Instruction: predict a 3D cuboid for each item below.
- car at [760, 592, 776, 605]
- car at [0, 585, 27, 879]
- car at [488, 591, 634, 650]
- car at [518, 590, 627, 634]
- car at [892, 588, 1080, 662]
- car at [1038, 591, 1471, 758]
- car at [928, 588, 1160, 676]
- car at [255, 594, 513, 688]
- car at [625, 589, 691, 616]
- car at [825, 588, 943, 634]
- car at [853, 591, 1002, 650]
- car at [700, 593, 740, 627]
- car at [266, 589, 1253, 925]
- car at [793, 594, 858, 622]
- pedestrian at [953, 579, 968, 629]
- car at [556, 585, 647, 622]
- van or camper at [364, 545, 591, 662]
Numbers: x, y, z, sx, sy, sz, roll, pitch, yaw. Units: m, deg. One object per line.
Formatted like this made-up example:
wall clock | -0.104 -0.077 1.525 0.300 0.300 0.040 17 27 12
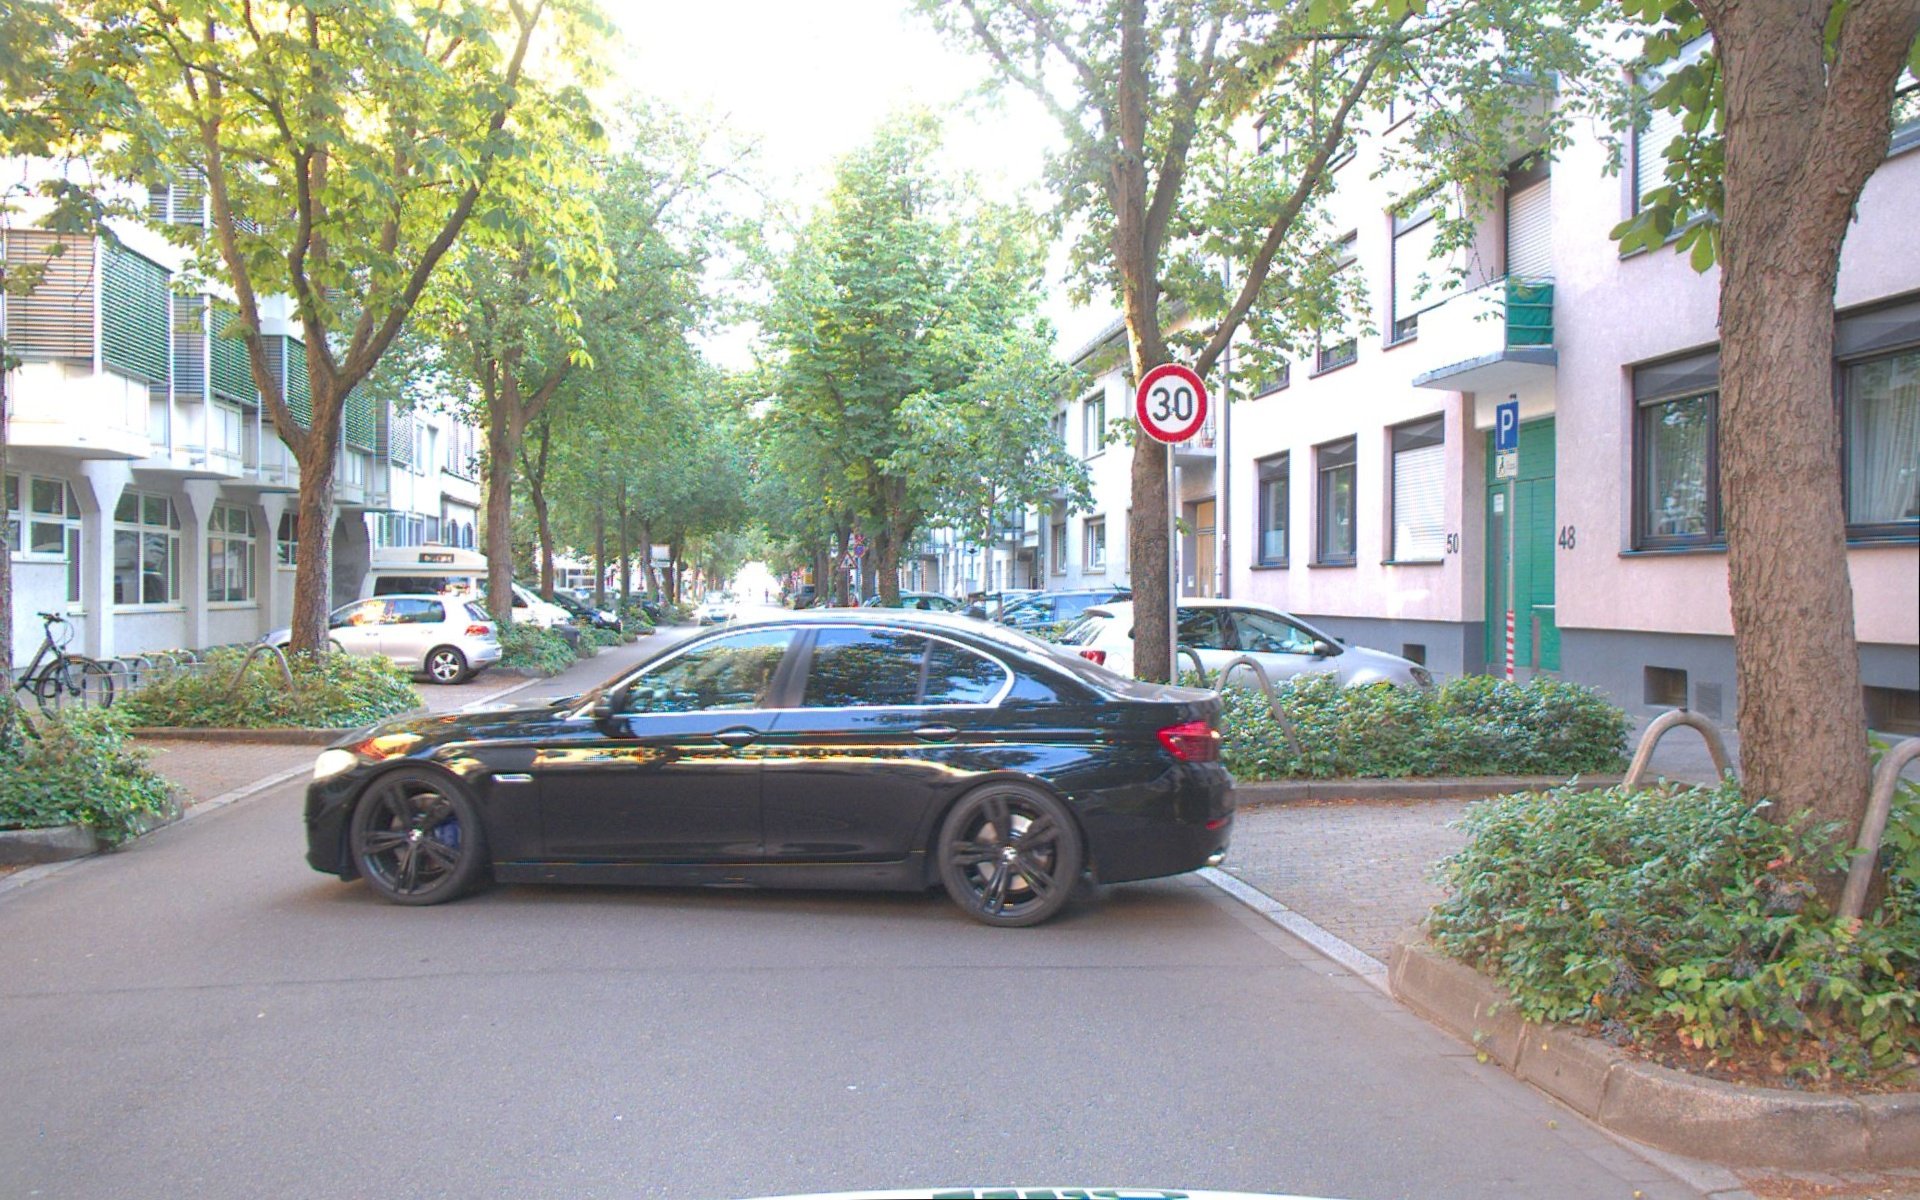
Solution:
car | -23.268 -0.186 200.429 1.787 1.557 3.995 -1 0 -6
car | -7.108 0.708 7.863 4.272 1.544 1.782 0 0 -7
car | -11.497 0.568 47.854 3.892 1.647 1.783 0 0 -6
car | -15.018 0.445 64.268 3.891 1.647 1.783 0 0 -6
car | 0.538 0.530 36.145 3.893 1.554 1.782 0 0 -8
car | 2.802 0.668 16.103 3.836 1.502 1.661 0 0 -9
car | 1.475 0.540 29.689 3.894 1.502 1.781 0 0 -9
car | -9.867 0.682 28.574 3.892 1.544 1.783 0 0 -6
car | -18.630 0.163 102.080 3.891 1.647 1.783 0 0 -6
car | -2.634 0.368 56.773 3.894 1.554 1.782 0 0 -9
car | -0.914 0.539 44.933 3.893 1.554 1.782 0 0 -8
car | -11.487 0.466 79.370 1.745 1.589 4.162 0 0 -6
car | -0.902 0.699 8.539 4.644 1.506 1.801 0 0 6
car | -8.174 0.473 100.639 3.891 1.713 1.783 0 0 -6
pedestrian | 0.013 0.154 68.297 0.577 2.049 0.669 0 0 -6
car | -16.404 0.160 75.877 3.891 1.647 1.783 0 0 -6
van or camper | -10.678 0.059 36.876 4.575 2.521 1.997 0 0 -7
